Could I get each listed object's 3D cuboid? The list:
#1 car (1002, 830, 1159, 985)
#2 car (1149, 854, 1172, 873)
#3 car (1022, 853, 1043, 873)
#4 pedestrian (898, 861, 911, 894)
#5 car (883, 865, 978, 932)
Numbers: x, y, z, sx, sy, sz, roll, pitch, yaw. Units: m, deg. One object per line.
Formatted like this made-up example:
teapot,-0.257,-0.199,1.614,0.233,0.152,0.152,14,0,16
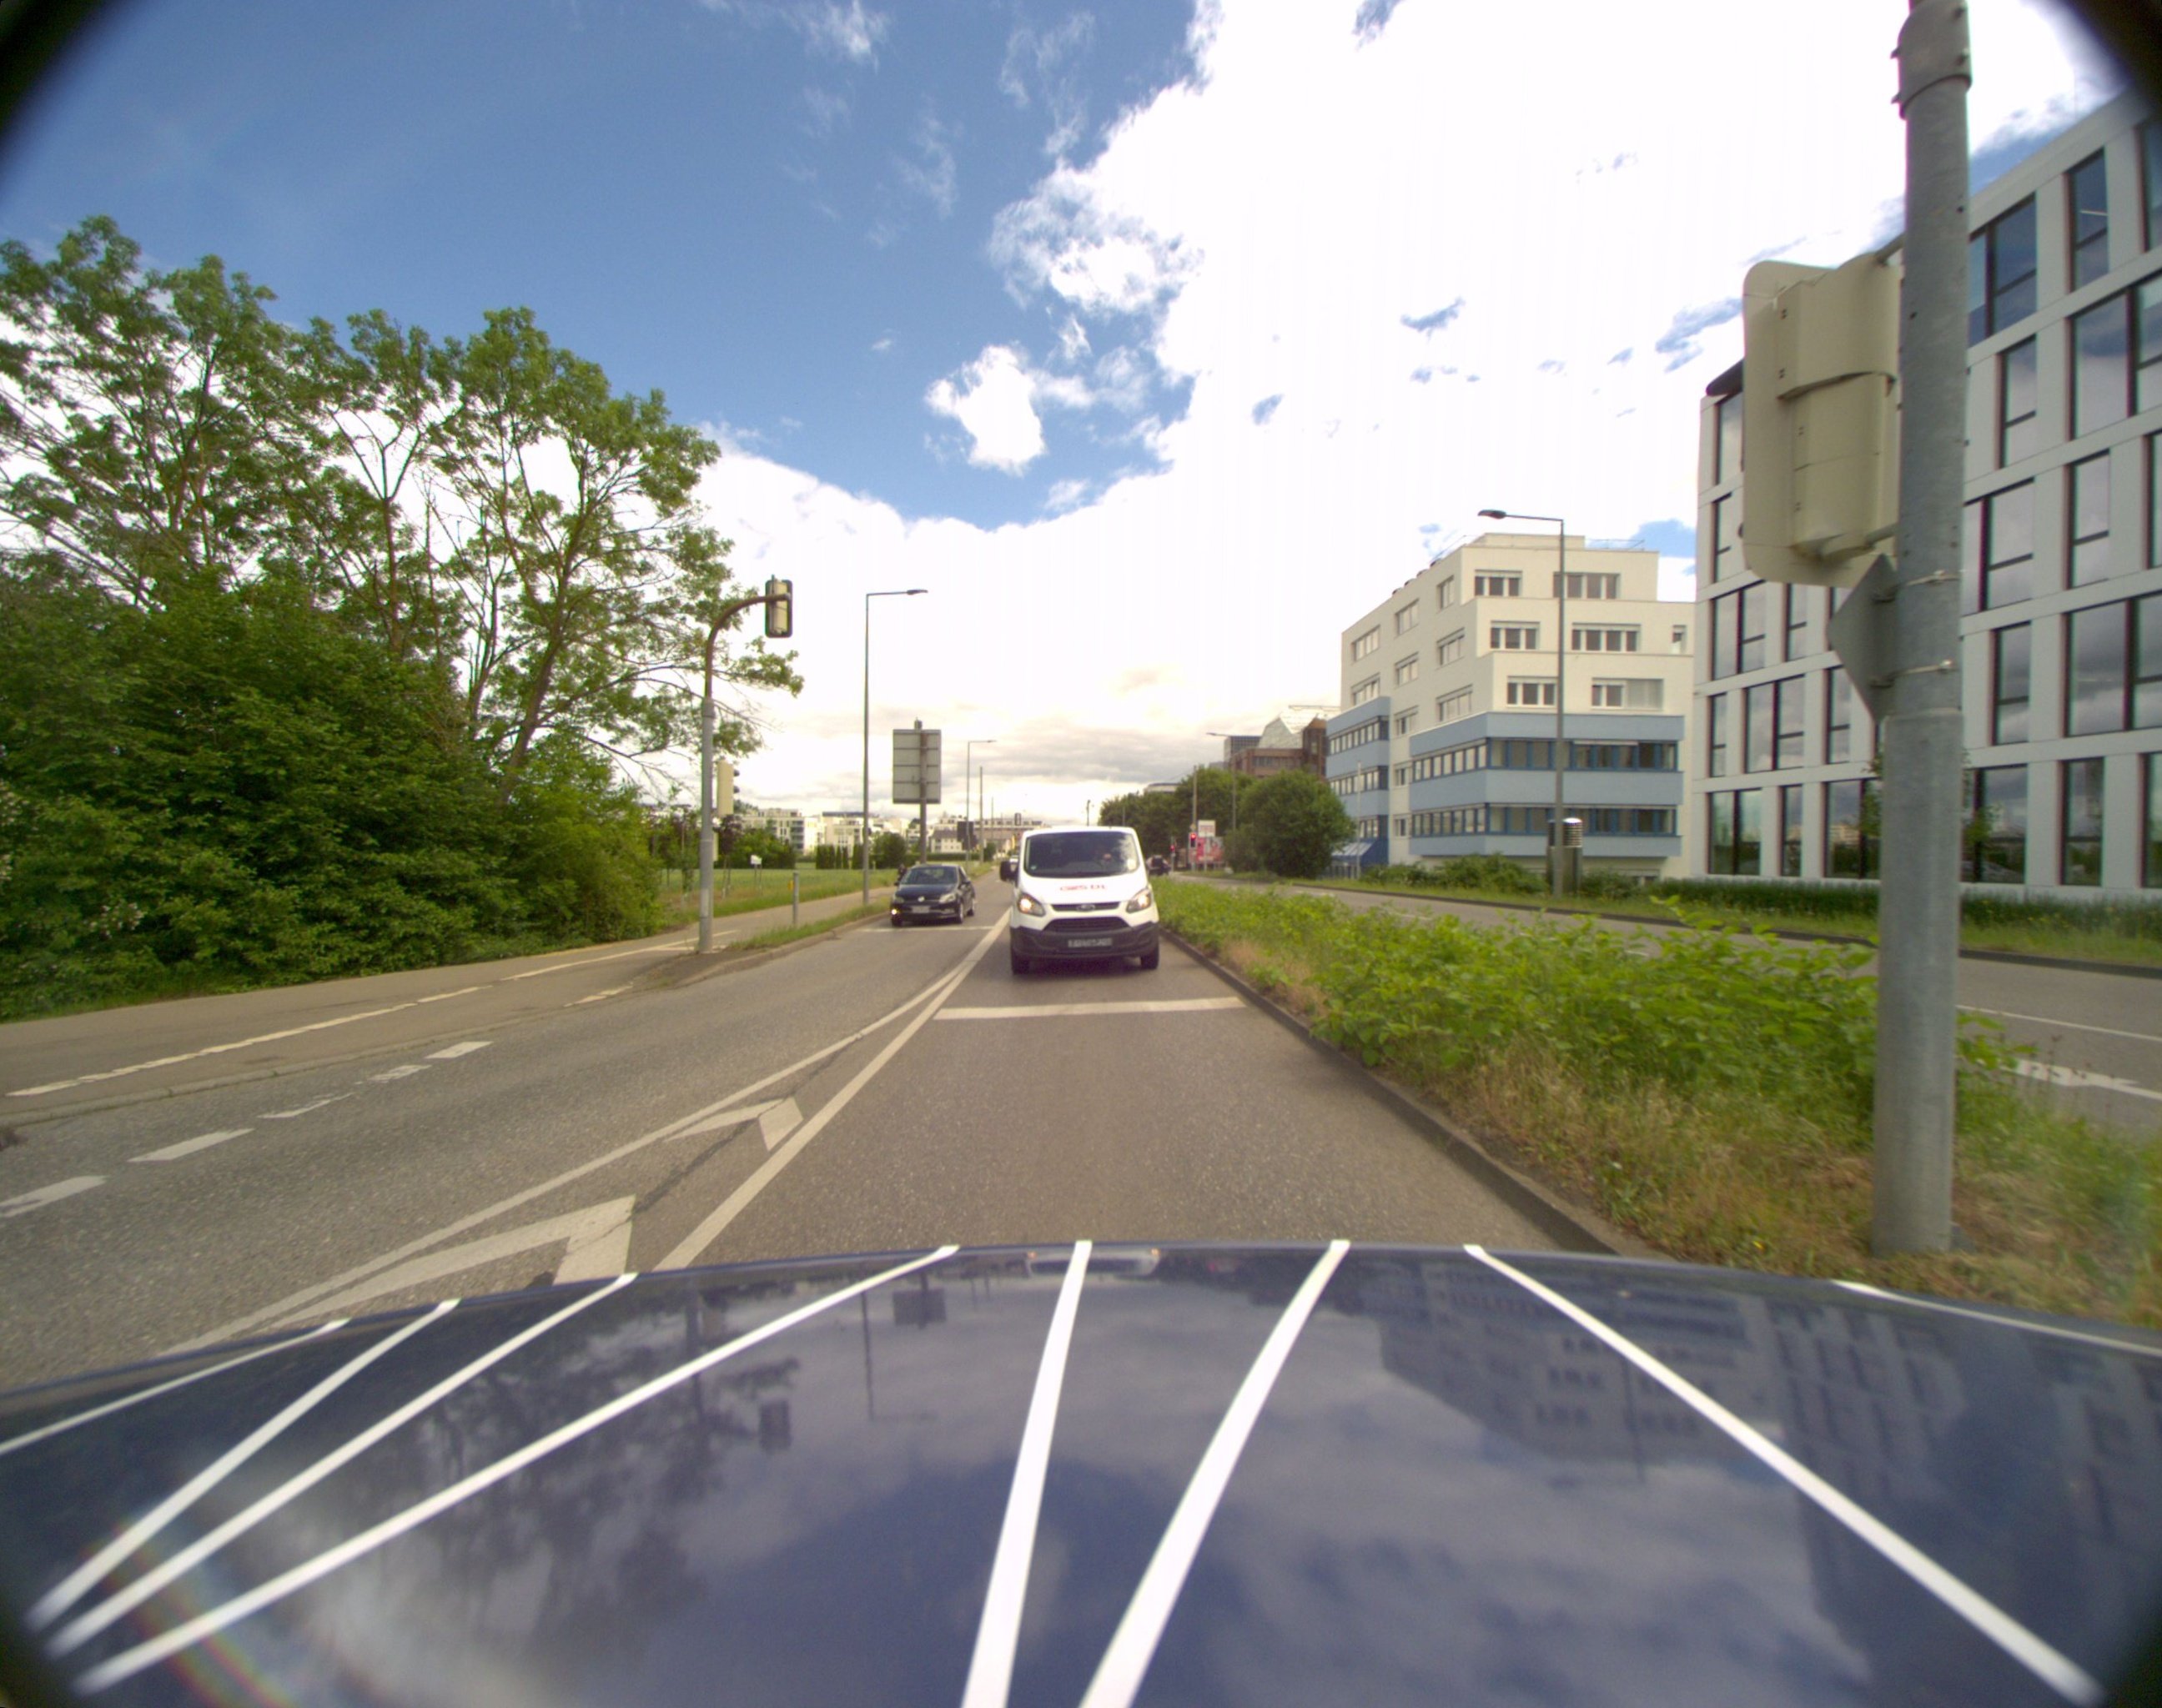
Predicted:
car,-0.087,0.677,12.253,1.968,1.938,5.054,-1,0,-2
car,6.633,0.810,63.873,1.758,1.438,3.892,-2,1,5
car,-3.961,0.697,61.993,1.627,1.528,3.429,-2,1,-4
pedestrian,-9.527,1.264,41.004,0.492,1.693,0.625,-2,1,-4
car,-3.646,1.019,19.005,1.683,1.410,3.739,-1,1,-1
